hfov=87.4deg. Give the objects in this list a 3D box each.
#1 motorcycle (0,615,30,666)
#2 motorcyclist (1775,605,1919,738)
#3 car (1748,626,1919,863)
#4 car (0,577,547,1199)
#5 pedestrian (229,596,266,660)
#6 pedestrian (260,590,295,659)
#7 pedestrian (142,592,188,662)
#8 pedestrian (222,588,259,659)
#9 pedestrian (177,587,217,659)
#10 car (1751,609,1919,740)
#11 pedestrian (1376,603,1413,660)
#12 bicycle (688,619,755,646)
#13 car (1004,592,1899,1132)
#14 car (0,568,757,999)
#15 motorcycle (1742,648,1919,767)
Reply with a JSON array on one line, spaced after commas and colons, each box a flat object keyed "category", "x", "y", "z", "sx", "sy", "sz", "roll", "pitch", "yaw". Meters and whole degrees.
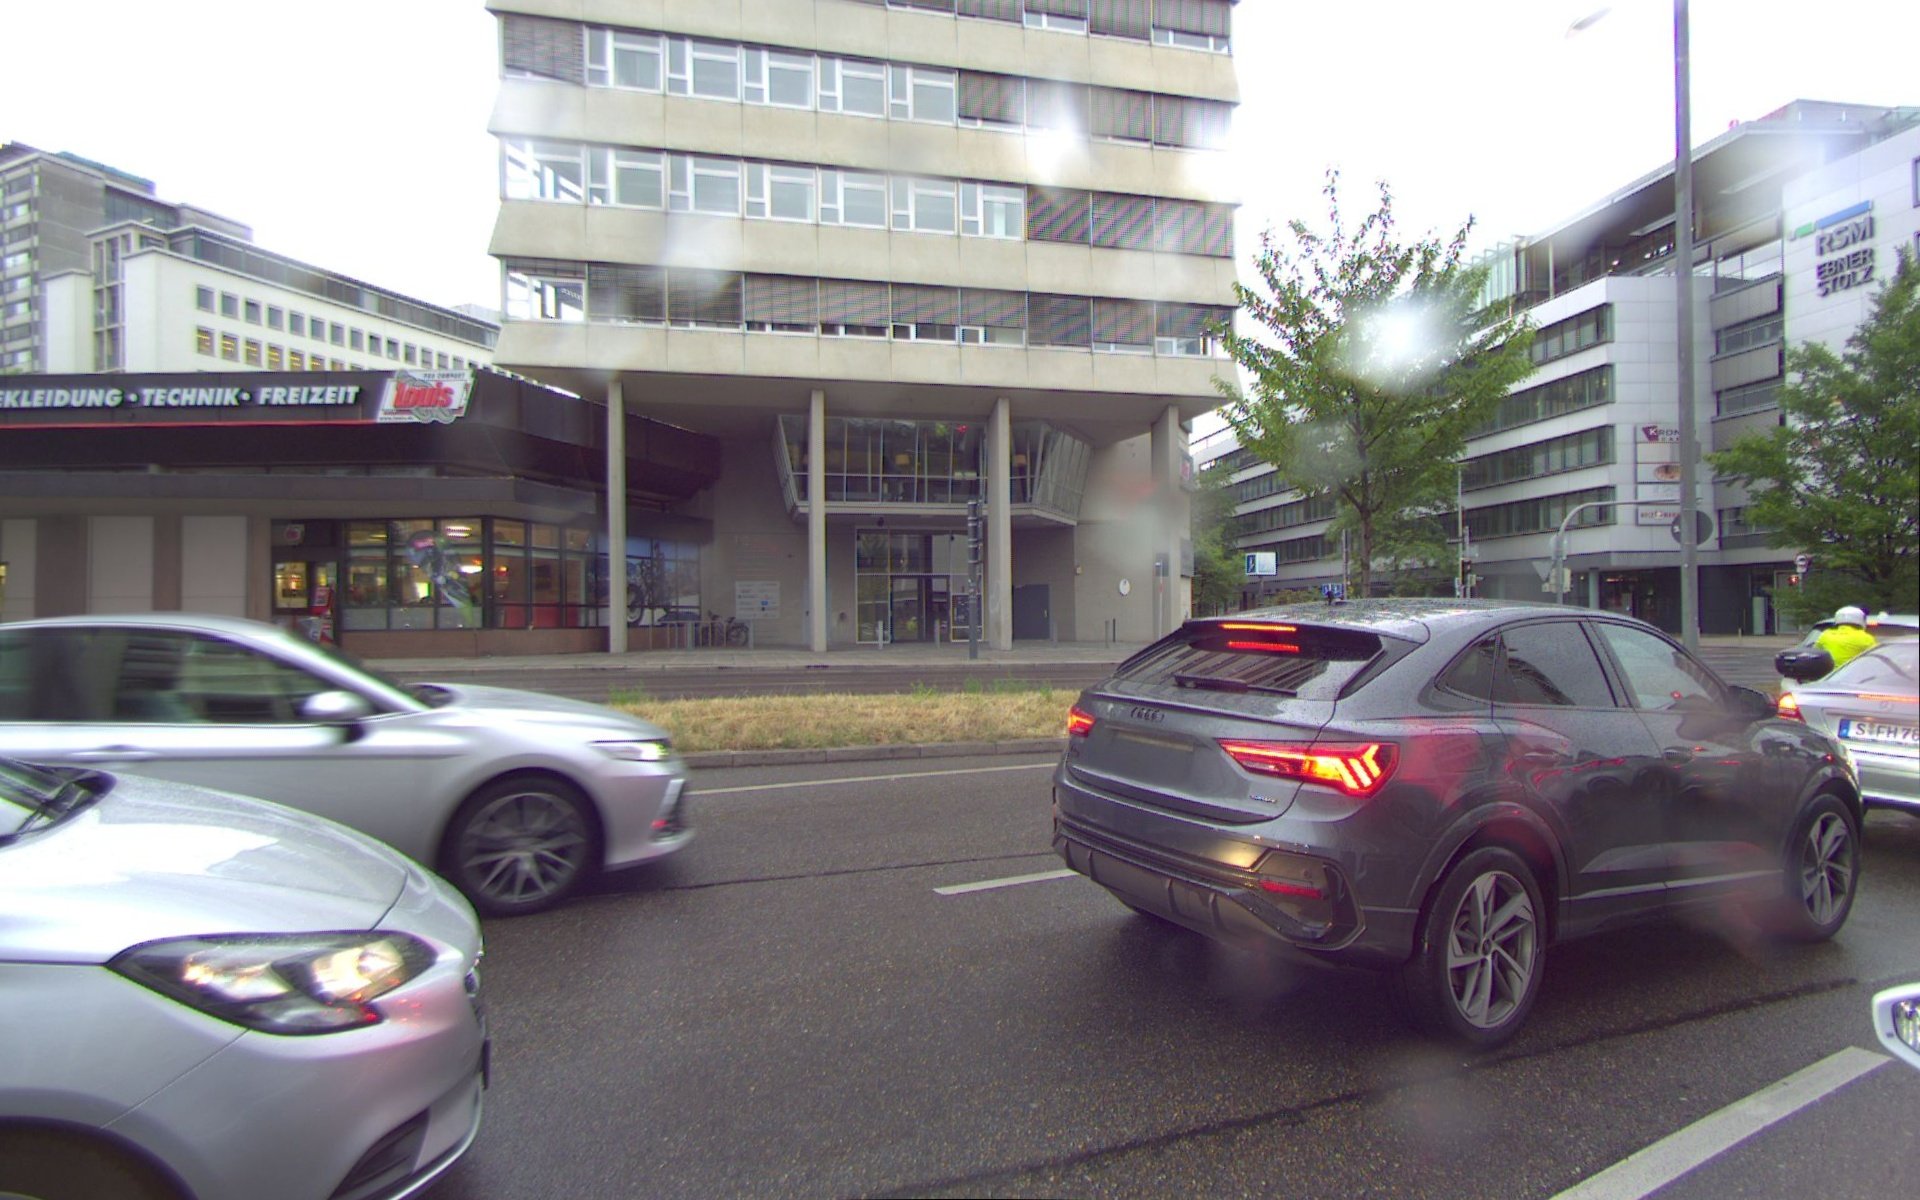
[{"category": "motorcycle", "x": -23.530, "y": 0.984, "z": 24.191, "sx": 0.353, "sy": 1.249, "sz": 1.669, "roll": 1, "pitch": 0, "yaw": 20}, {"category": "motorcyclist", "x": 9.908, "y": 0.776, "z": 11.223, "sx": 1.102, "sy": 1.398, "sz": 0.769, "roll": 2, "pitch": 0, "yaw": -21}, {"category": "car", "x": 7.696, "y": 0.957, "z": 7.086, "sx": 4.050, "sy": 1.426, "sz": 1.567, "roll": 2, "pitch": 0, "yaw": -22}, {"category": "car", "x": -2.876, "y": 0.668, "z": 1.696, "sx": 3.831, "sy": 1.455, "sz": 1.639, "roll": 1, "pitch": 0, "yaw": -32}, {"category": "pedestrian", "x": -17.828, "y": 0.699, "z": 25.144, "sx": 0.548, "sy": 1.591, "sz": 0.541, "roll": 1, "pitch": 0, "yaw": -9}, {"category": "pedestrian", "x": -17.651, "y": 0.621, "z": 25.984, "sx": 0.548, "sy": 1.767, "sz": 0.541, "roll": 1, "pitch": 0, "yaw": -9}, {"category": "pedestrian", "x": -18.858, "y": 0.641, "z": 23.835, "sx": 0.601, "sy": 1.633, "sz": 0.614, "roll": 1, "pitch": 0, "yaw": -9}, {"category": "pedestrian", "x": -18.372, "y": 0.597, "z": 25.655, "sx": 0.548, "sy": 1.767, "sz": 0.541, "roll": 1, "pitch": 0, "yaw": -9}, {"category": "pedestrian", "x": -19.006, "y": 0.575, "z": 25.033, "sx": 0.548, "sy": 1.767, "sz": 0.614, "roll": 1, "pitch": 0, "yaw": -9}, {"category": "car", "x": 12.633, "y": 0.933, "z": 13.210, "sx": 3.940, "sy": 1.506, "sz": 1.704, "roll": 2, "pitch": 0, "yaw": -21}, {"category": "pedestrian", "x": 13.265, "y": 0.965, "z": 30.673, "sx": 0.751, "sy": 1.706, "sz": 0.677, "roll": 1, "pitch": 0, "yaw": -16}, {"category": "bicycle", "x": -8.106, "y": 1.123, "z": 34.205, "sx": 2.165, "sy": 0.871, "sz": 0.456, "roll": 2, "pitch": 0, "yaw": -31}, {"category": "car", "x": 2.423, "y": 0.774, "z": 4.644, "sx": 4.220, "sy": 1.542, "sz": 1.640, "roll": 1, "pitch": 0, "yaw": -30}, {"category": "car", "x": -3.526, "y": 0.662, "z": 4.677, "sx": 4.724, "sy": 1.554, "sz": 1.855, "roll": 1, "pitch": 0, "yaw": -32}, {"category": "motorcycle", "x": 9.825, "y": 1.166, "z": 11.218, "sx": 1.998, "sy": 1.200, "sz": 0.799, "roll": 2, "pitch": 0, "yaw": -21}]
